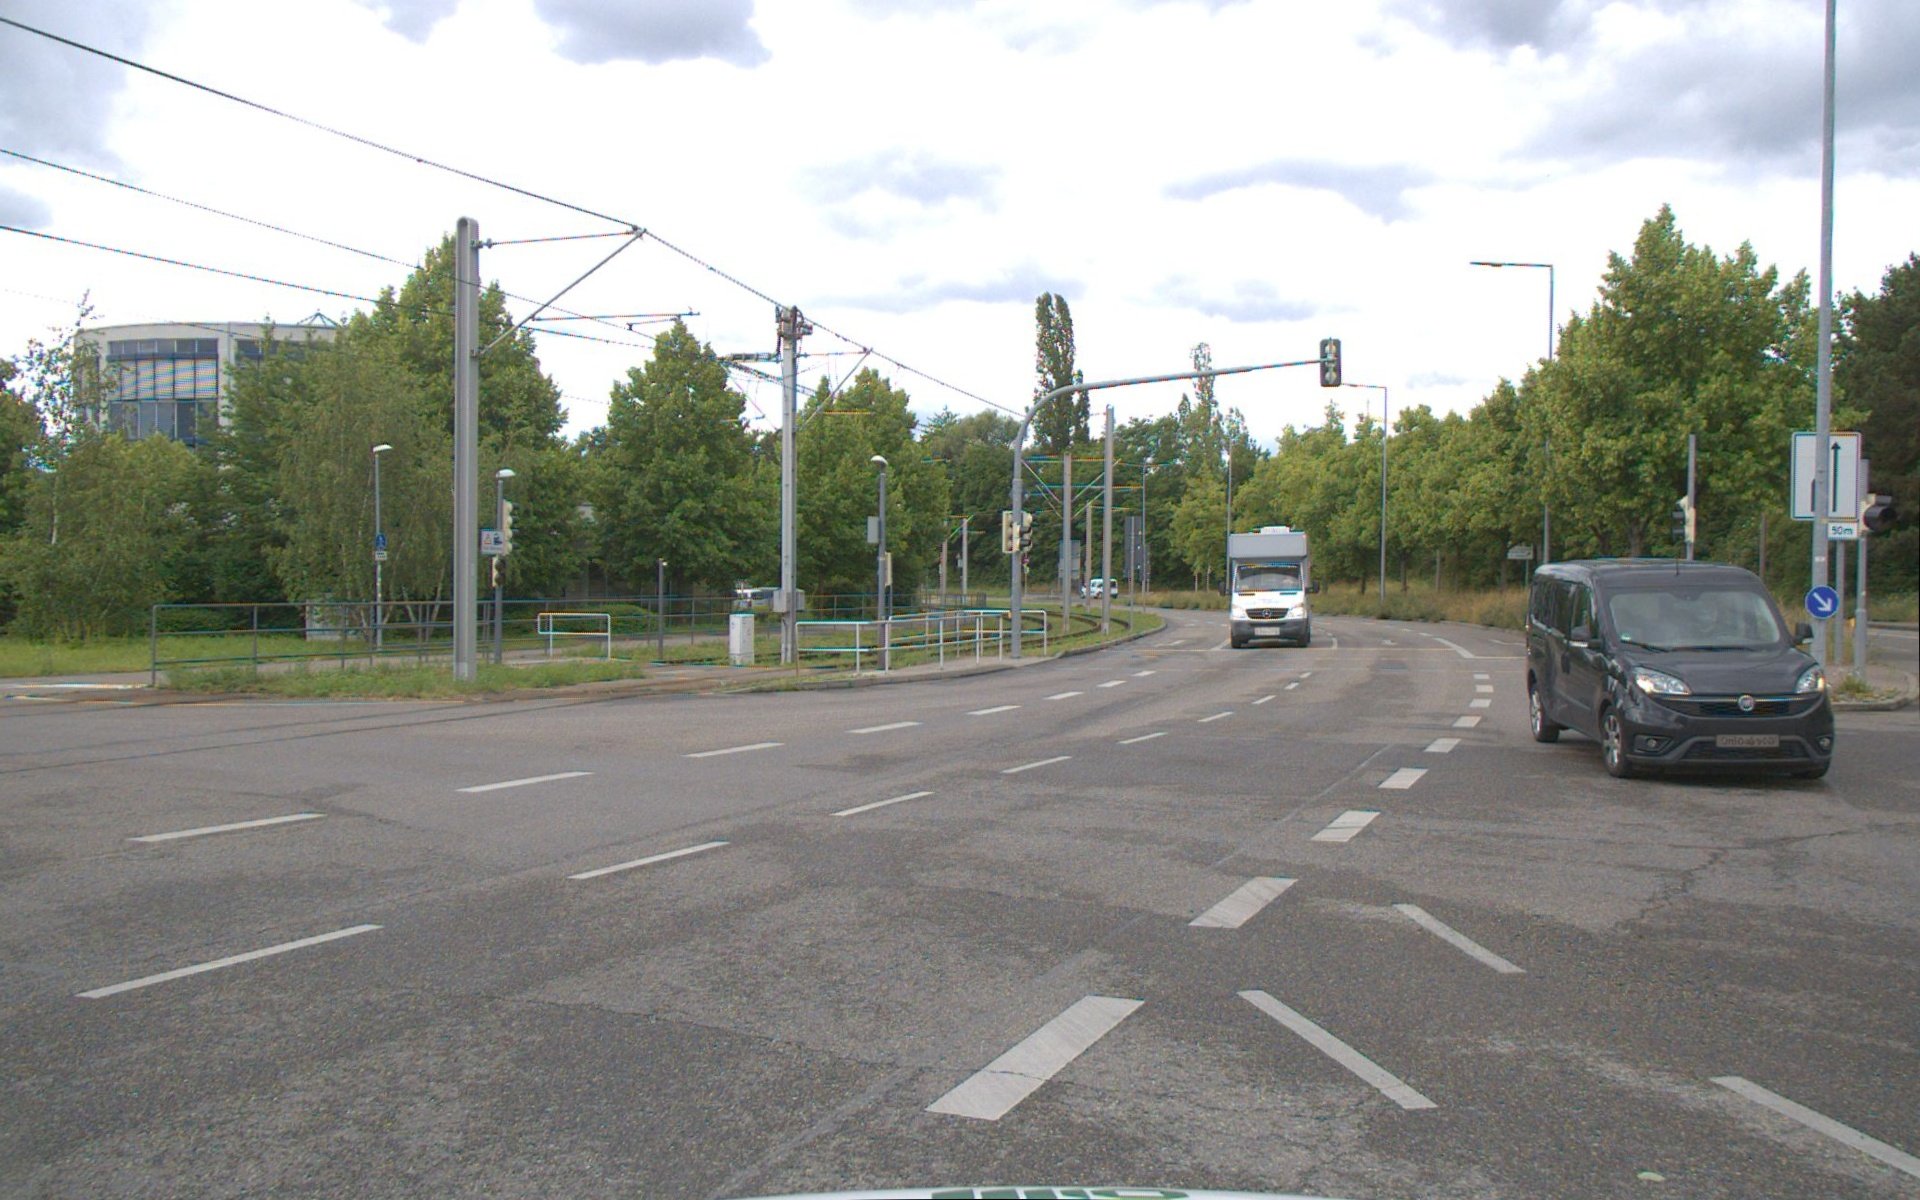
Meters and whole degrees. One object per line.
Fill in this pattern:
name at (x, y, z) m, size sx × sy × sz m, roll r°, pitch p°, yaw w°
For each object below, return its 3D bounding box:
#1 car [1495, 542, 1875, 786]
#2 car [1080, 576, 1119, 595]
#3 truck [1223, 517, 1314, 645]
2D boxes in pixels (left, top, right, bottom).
car at (6.485, 0.486, 15.459) m, size 1.951 × 1.909 × 4.895 m, roll 0°, pitch 0°, yaw 7°
car at (12.971, -1.387, 154.124) m, size 1.971 × 1.758 × 3.694 m, roll -1°, pitch 1°, yaw -28°
truck at (8.340, -0.484, 44.399) m, size 2.060 × 3.063 × 6.279 m, roll -4°, pitch 0°, yaw 12°
